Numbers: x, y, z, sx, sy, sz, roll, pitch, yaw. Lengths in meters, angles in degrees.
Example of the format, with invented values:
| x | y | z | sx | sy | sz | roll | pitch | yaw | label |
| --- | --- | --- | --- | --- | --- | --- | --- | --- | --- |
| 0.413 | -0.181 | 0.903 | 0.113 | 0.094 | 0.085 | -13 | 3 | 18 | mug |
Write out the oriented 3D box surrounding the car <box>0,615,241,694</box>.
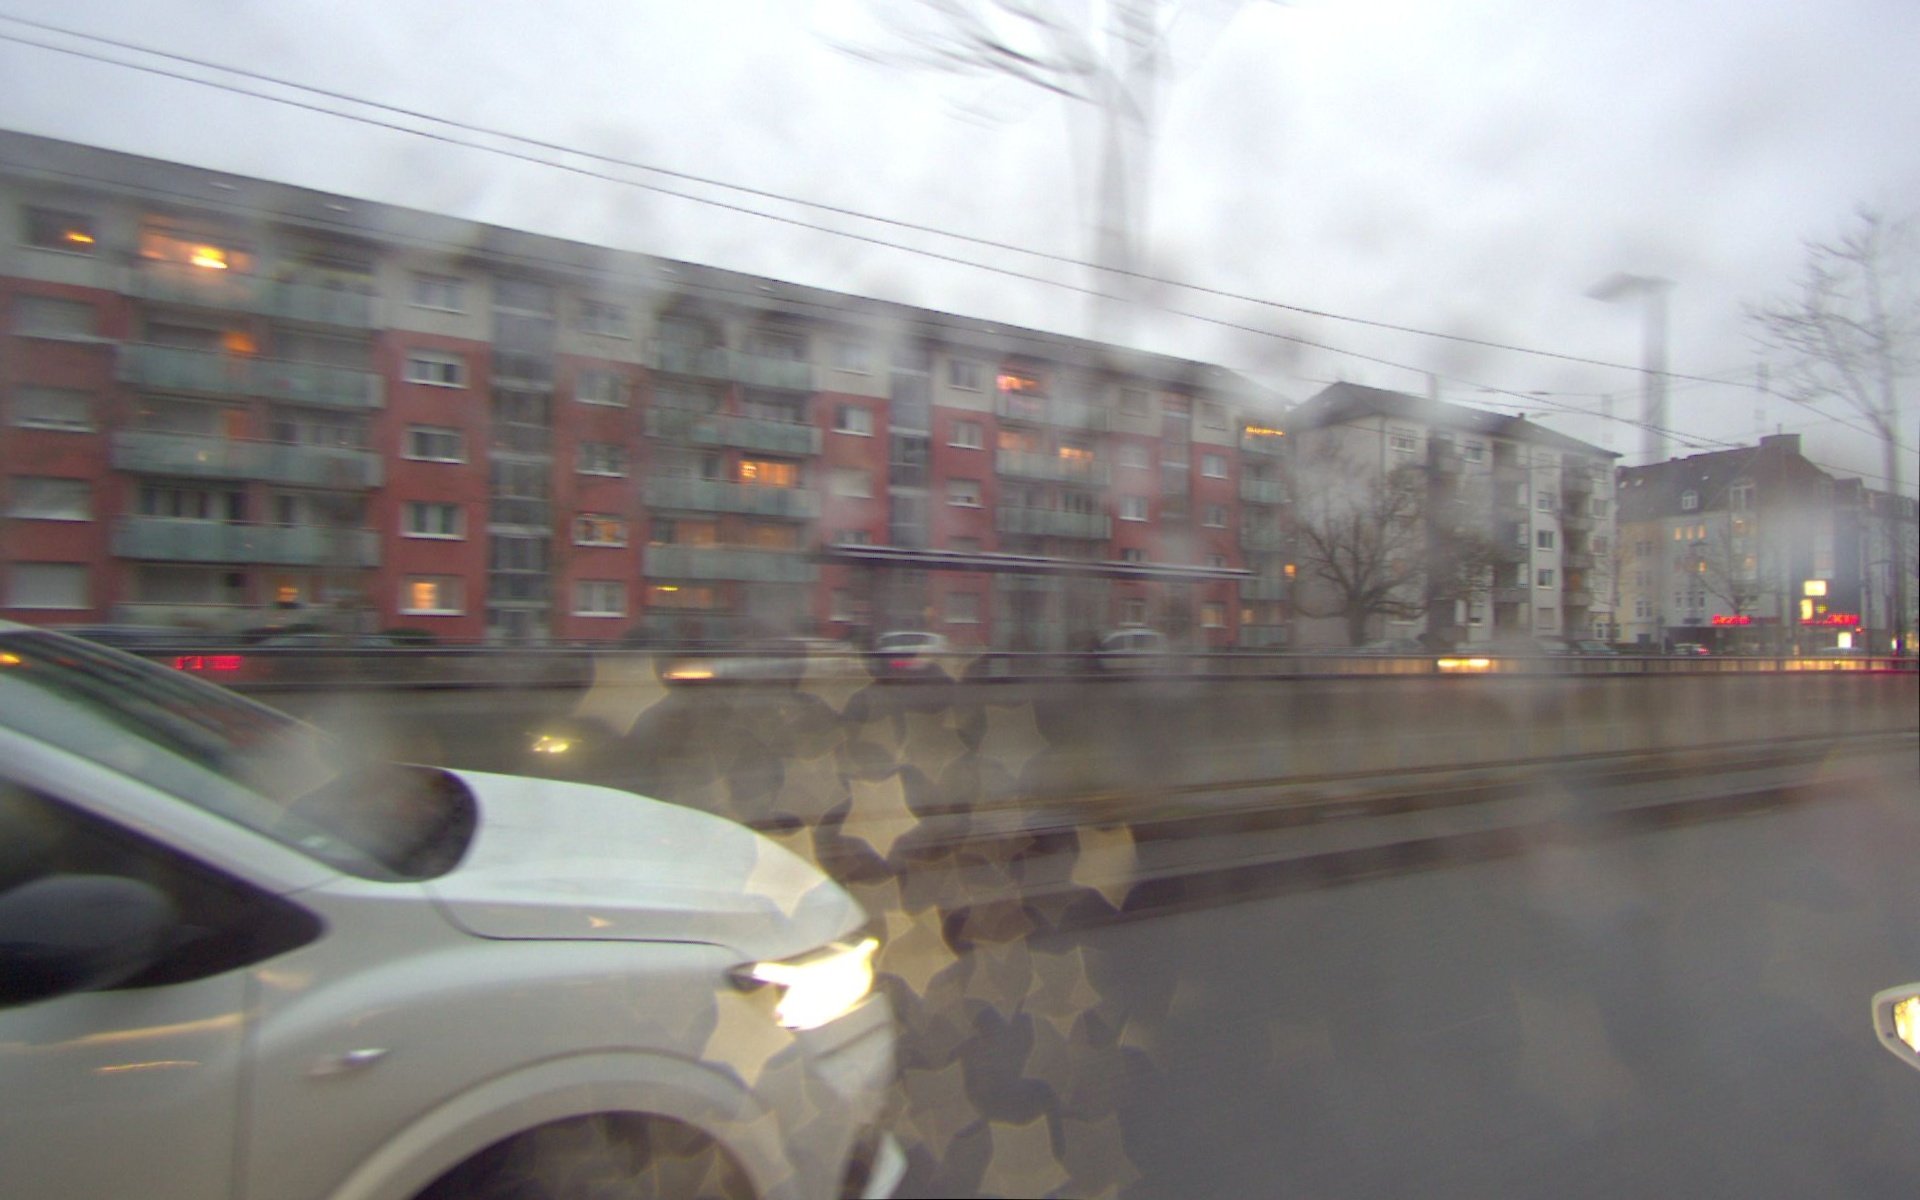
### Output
| x | y | z | sx | sy | sz | roll | pitch | yaw | label |
| --- | --- | --- | --- | --- | --- | --- | --- | --- | --- |
| -15.918 | 1.039 | 19.177 | 3.336 | 1.376 | 1.579 | 3 | -1 | -30 | car |

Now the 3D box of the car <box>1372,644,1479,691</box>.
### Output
| x | y | z | sx | sy | sz | roll | pitch | yaw | label |
| --- | --- | --- | --- | --- | --- | --- | --- | --- | --- |
| 15.573 | 2.255 | 33.603 | 3.197 | 1.454 | 1.681 | 3 | -1 | -29 | car |

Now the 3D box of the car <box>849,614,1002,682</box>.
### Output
| x | y | z | sx | sy | sz | roll | pitch | yaw | label |
| --- | --- | --- | --- | --- | --- | --- | --- | --- | --- |
| -0.952 | 1.359 | 28.417 | 3.954 | 1.782 | 1.683 | 3 | -1 | -31 | car |

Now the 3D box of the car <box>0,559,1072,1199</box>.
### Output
| x | y | z | sx | sy | sz | roll | pitch | yaw | label |
| --- | --- | --- | --- | --- | --- | --- | --- | --- | --- |
| -1.928 | 0.676 | 1.818 | 3.951 | 1.485 | 1.701 | 3 | -1 | -28 | car |

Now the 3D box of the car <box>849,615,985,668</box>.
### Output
| x | y | z | sx | sy | sz | roll | pitch | yaw | label |
| --- | --- | --- | --- | --- | --- | --- | --- | --- | --- |
| -1.389 | 1.364 | 32.758 | 4.103 | 1.564 | 1.716 | 3 | -1 | -31 | car |

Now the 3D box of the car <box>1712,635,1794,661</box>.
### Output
| x | y | z | sx | sy | sz | roll | pitch | yaw | label |
| --- | --- | --- | --- | --- | --- | --- | --- | --- | --- |
| 50.002 | 3.016 | 63.386 | 1.681 | 1.384 | 3.774 | 3 | -1 | -34 | car |

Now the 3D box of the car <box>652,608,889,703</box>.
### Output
| x | y | z | sx | sy | sz | roll | pitch | yaw | label |
| --- | --- | --- | --- | --- | --- | --- | --- | --- | --- |
| -4.251 | 1.258 | 22.725 | 4.845 | 1.938 | 2.013 | 3 | -1 | -30 | car |
